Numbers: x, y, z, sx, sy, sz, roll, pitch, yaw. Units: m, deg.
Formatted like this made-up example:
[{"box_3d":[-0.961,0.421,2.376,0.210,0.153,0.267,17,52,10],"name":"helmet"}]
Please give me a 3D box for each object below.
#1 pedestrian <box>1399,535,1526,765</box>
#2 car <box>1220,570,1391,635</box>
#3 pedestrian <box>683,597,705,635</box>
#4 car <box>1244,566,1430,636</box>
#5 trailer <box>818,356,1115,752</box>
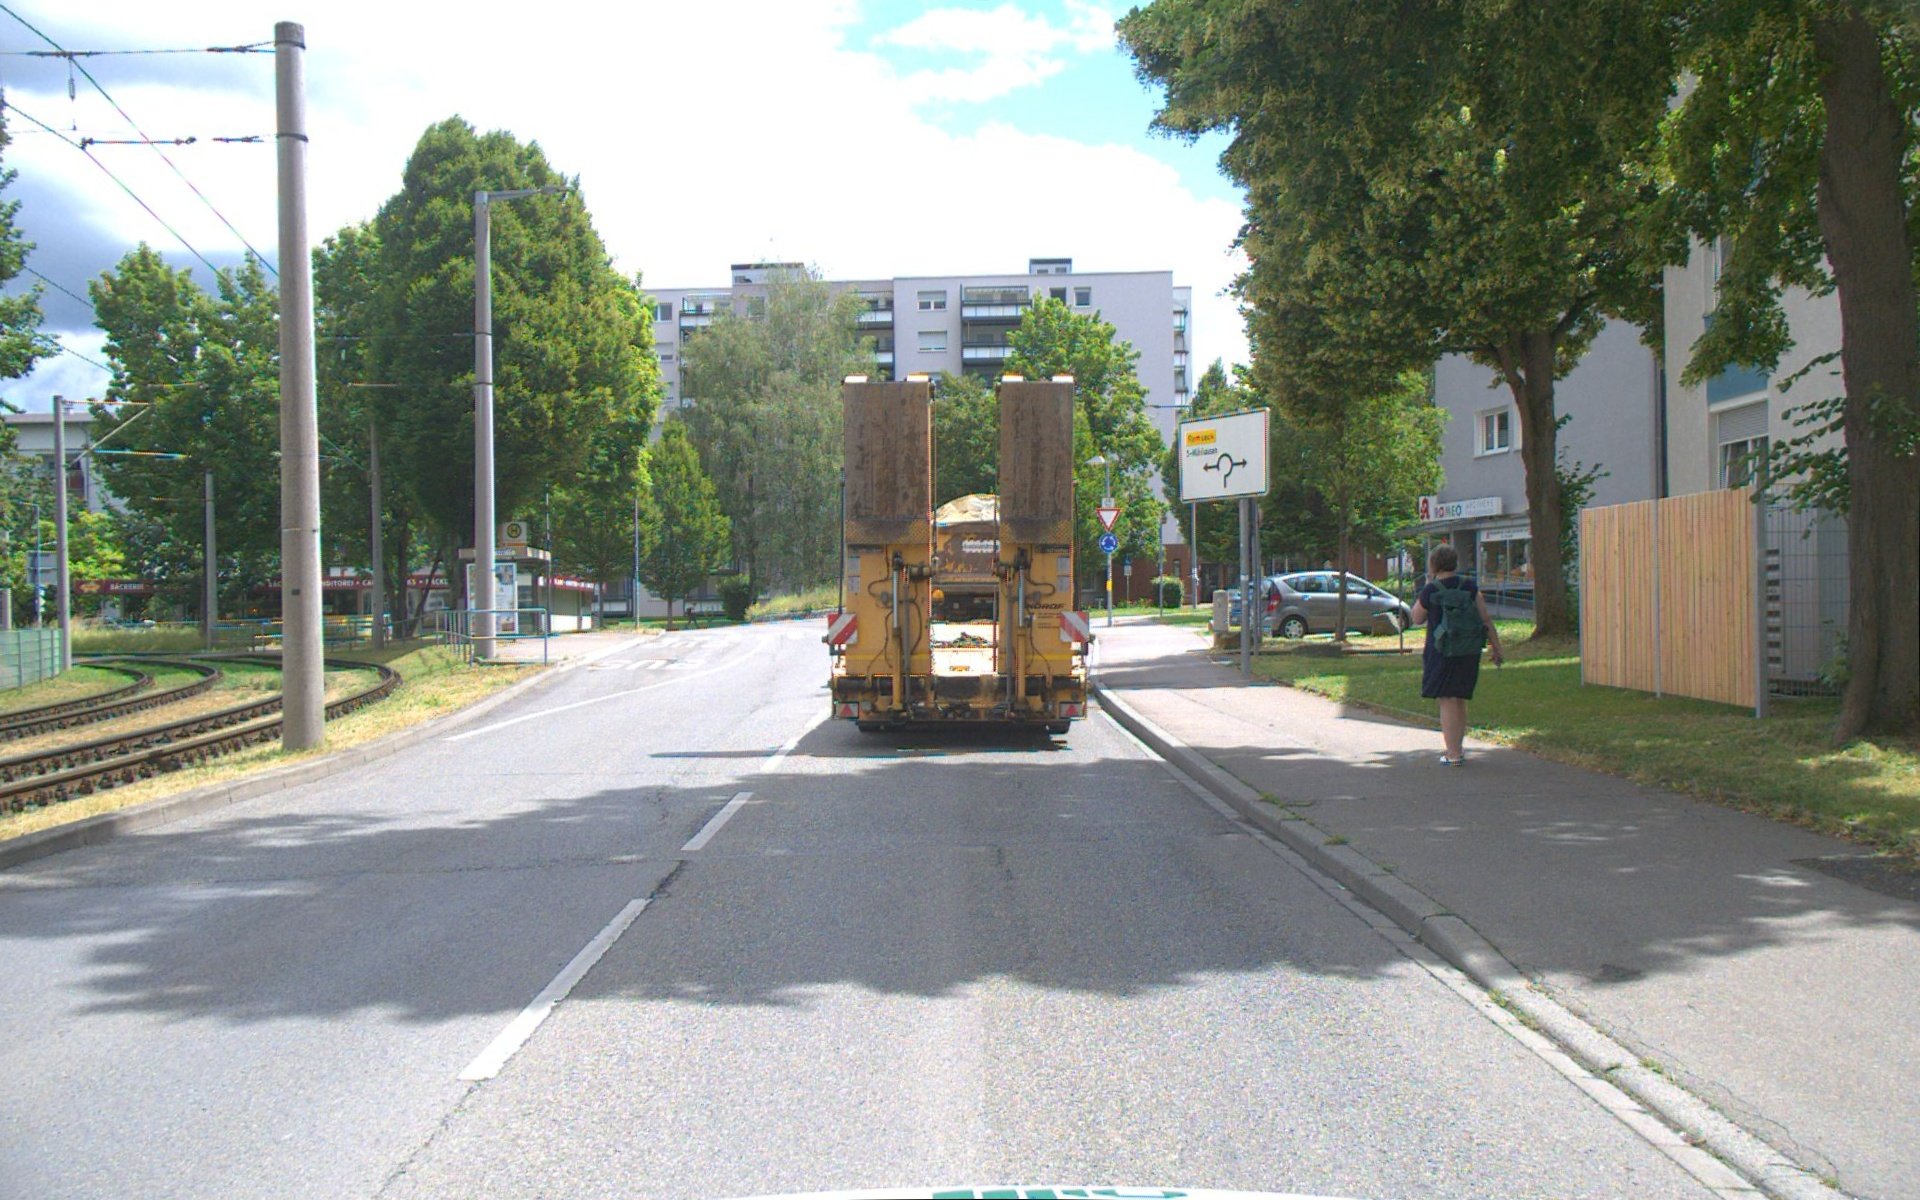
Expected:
[{"box_3d":[3.940,0.377,13.023,0.703,1.736,0.766,-2,1,-1],"name":"pedestrian"},{"box_3d":[8.851,0.066,42.475,3.918,1.588,1.754,0,0,-13],"name":"car"},{"box_3d":[-14.712,0.887,91.428,0.898,2.049,0.952,0,0,-31],"name":"pedestrian"},{"box_3d":[8.874,0.024,39.014,3.918,1.588,1.754,0,0,-13],"name":"car"},{"box_3d":[-0.036,-0.486,21.817,2.770,3.709,12.352,1,0,-1],"name":"trailer"}]
